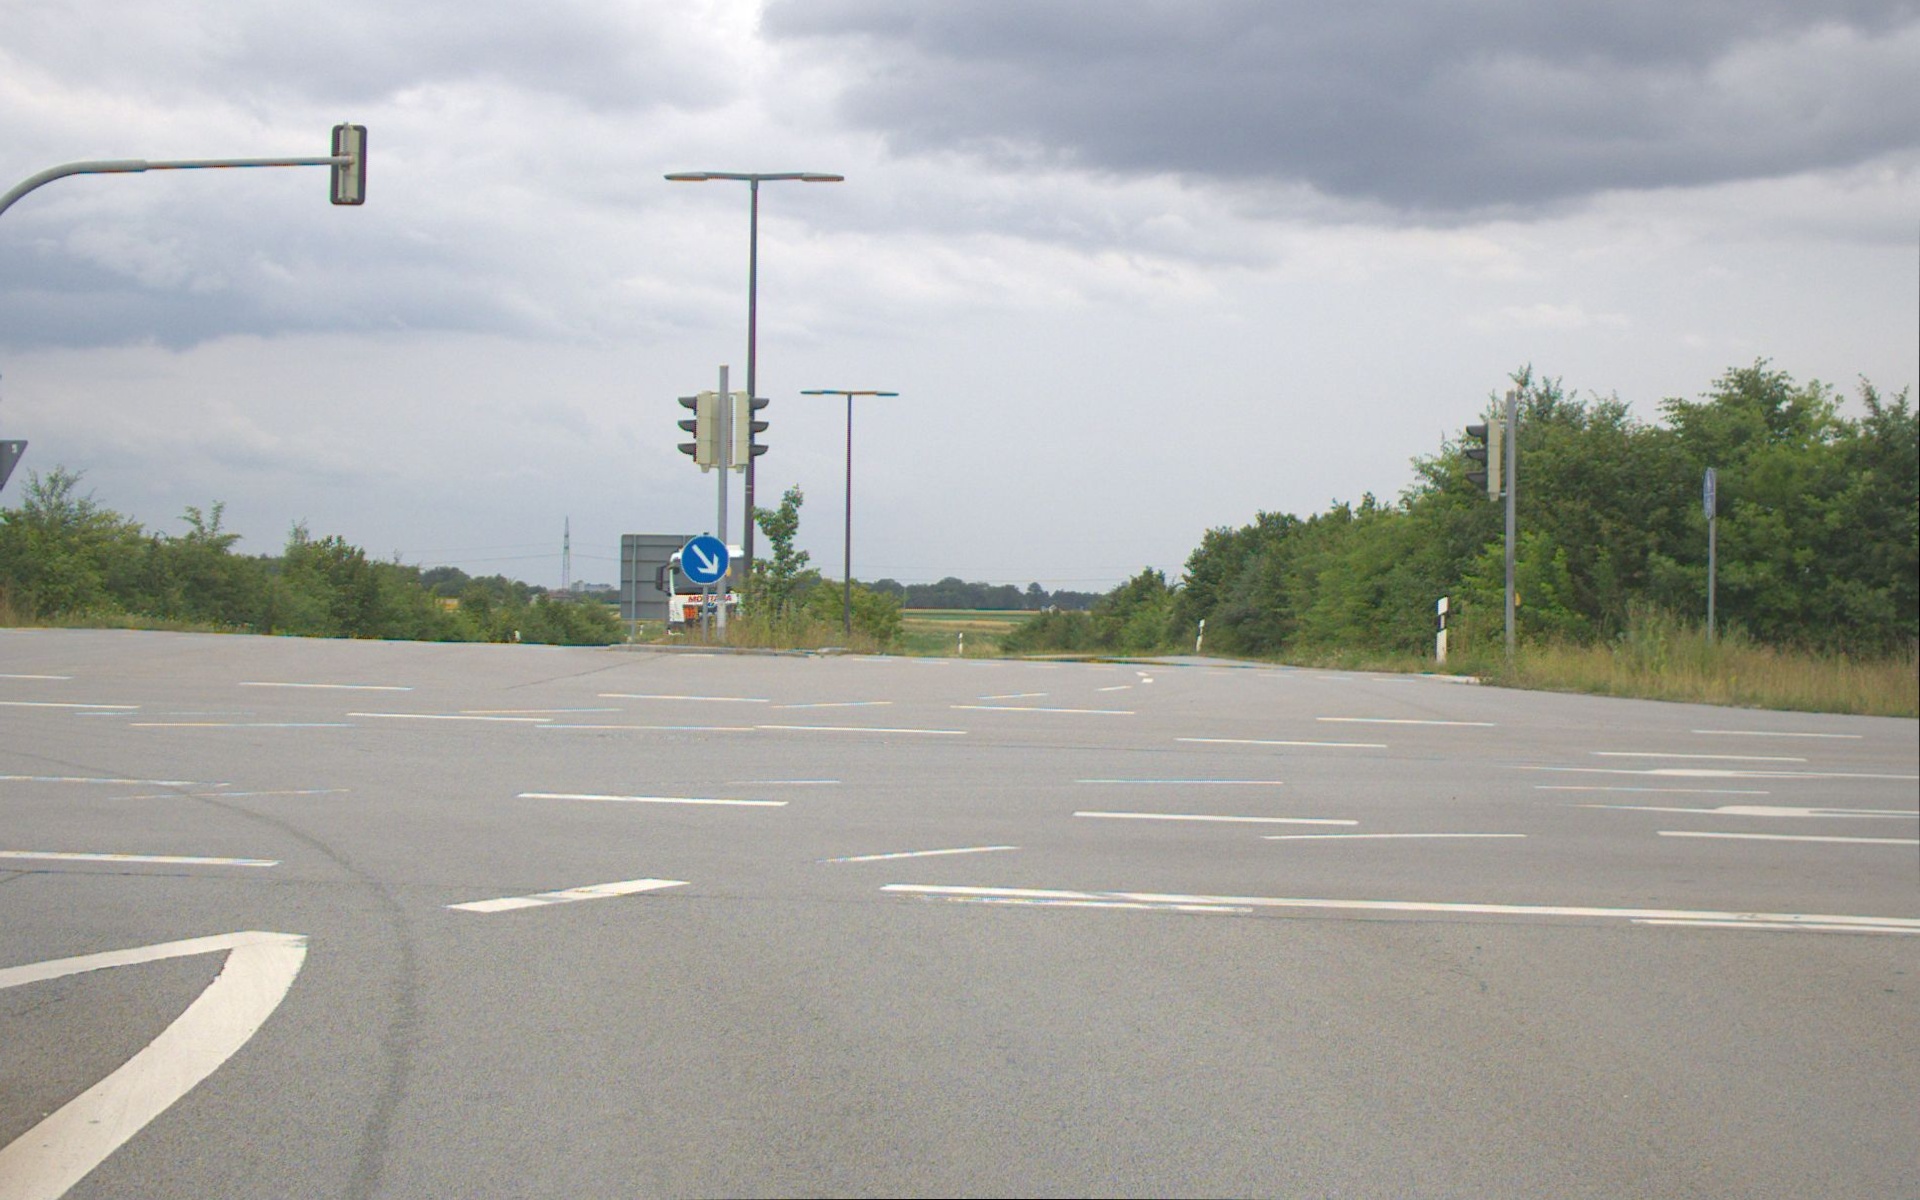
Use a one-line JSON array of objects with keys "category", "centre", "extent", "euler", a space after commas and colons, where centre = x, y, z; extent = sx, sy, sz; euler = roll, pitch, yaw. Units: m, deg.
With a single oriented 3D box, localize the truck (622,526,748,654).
[{"category": "truck", "centre": [-7.652, -0.233, 96.670], "extent": [2.869, 3.396, 8.650], "euler": [1, -1, 0]}]
